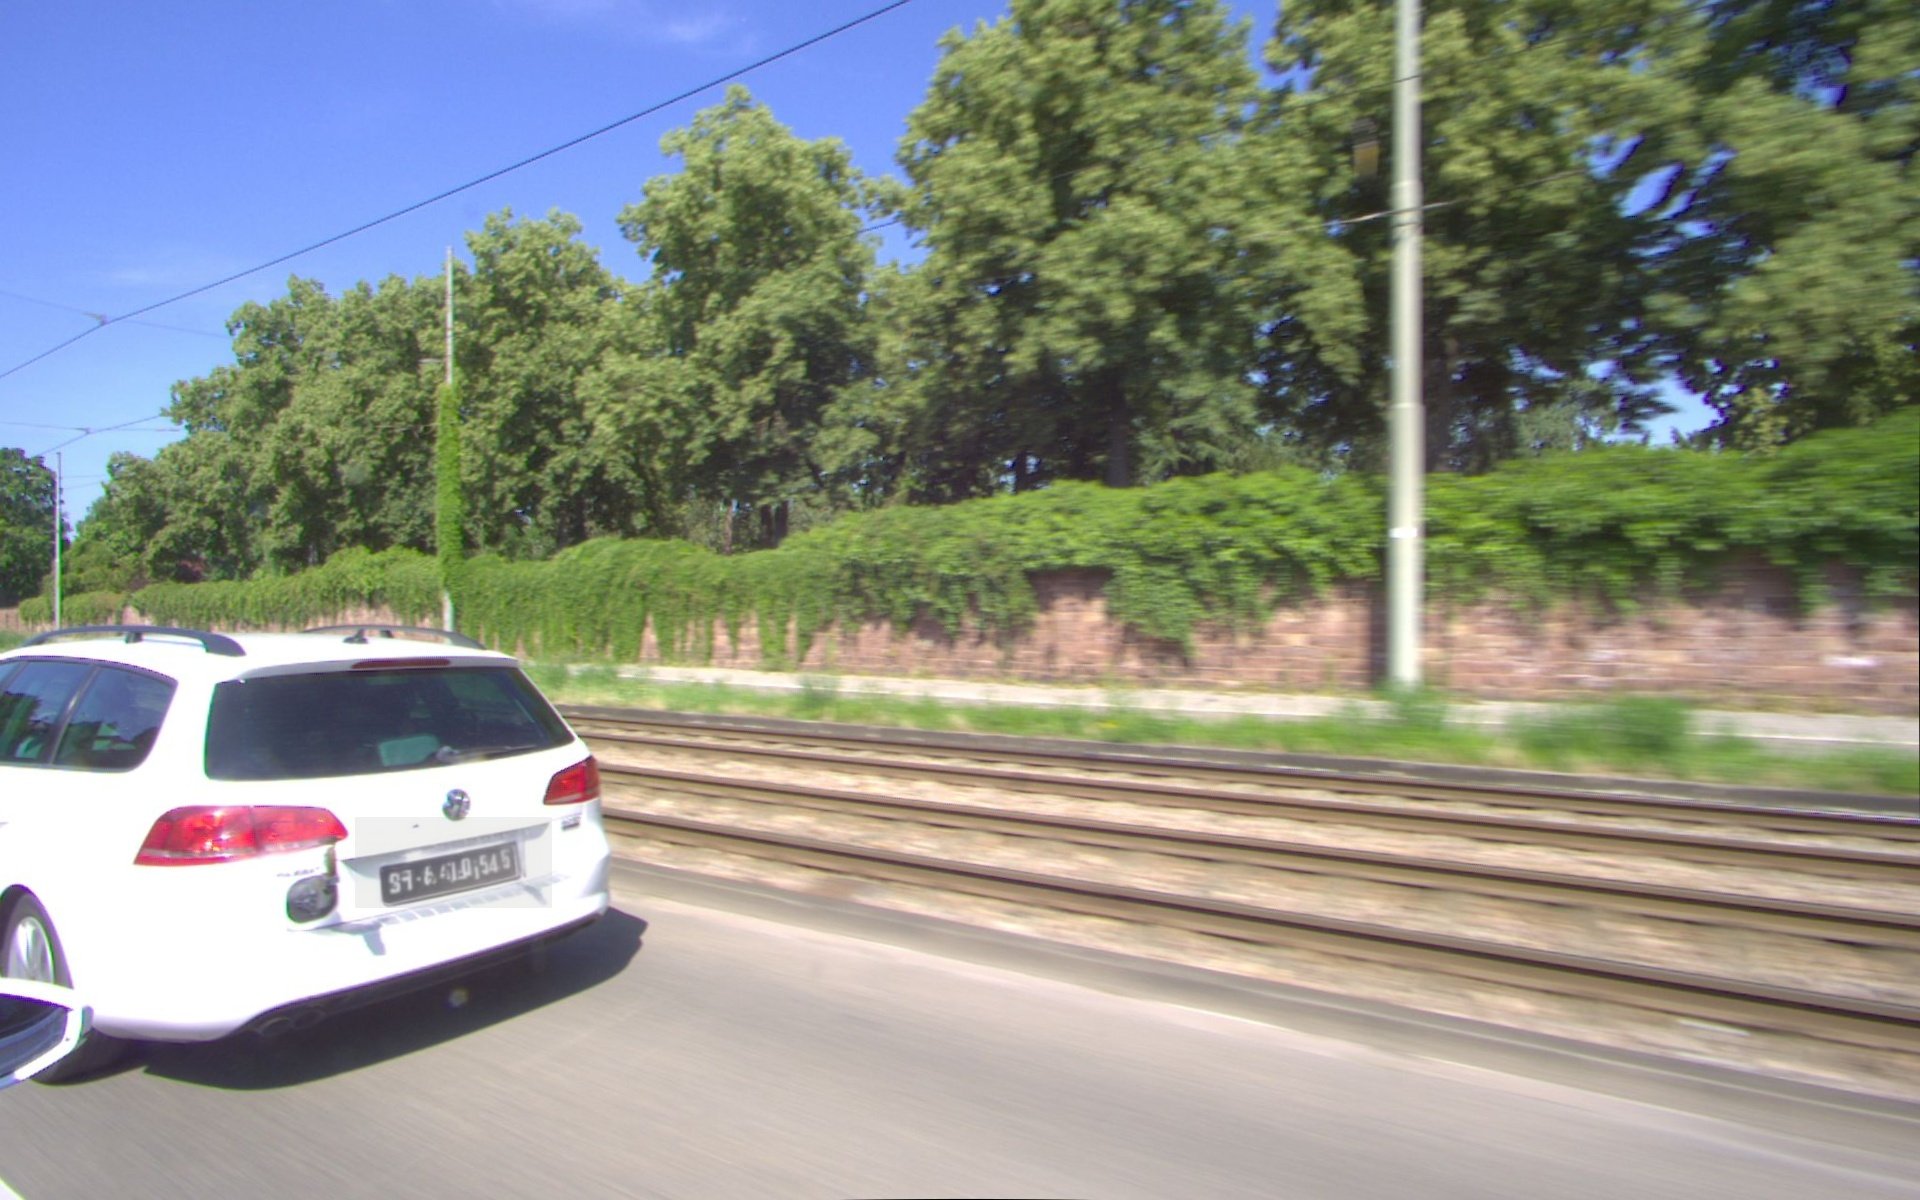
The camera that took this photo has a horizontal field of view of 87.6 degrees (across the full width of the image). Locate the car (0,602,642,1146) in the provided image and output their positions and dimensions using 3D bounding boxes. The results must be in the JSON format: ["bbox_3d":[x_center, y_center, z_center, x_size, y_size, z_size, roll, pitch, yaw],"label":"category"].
[{"bbox_3d":[-3.616,0.762,4.589,4.394,1.470,1.688,0,-1,32],"label":"car"}]
